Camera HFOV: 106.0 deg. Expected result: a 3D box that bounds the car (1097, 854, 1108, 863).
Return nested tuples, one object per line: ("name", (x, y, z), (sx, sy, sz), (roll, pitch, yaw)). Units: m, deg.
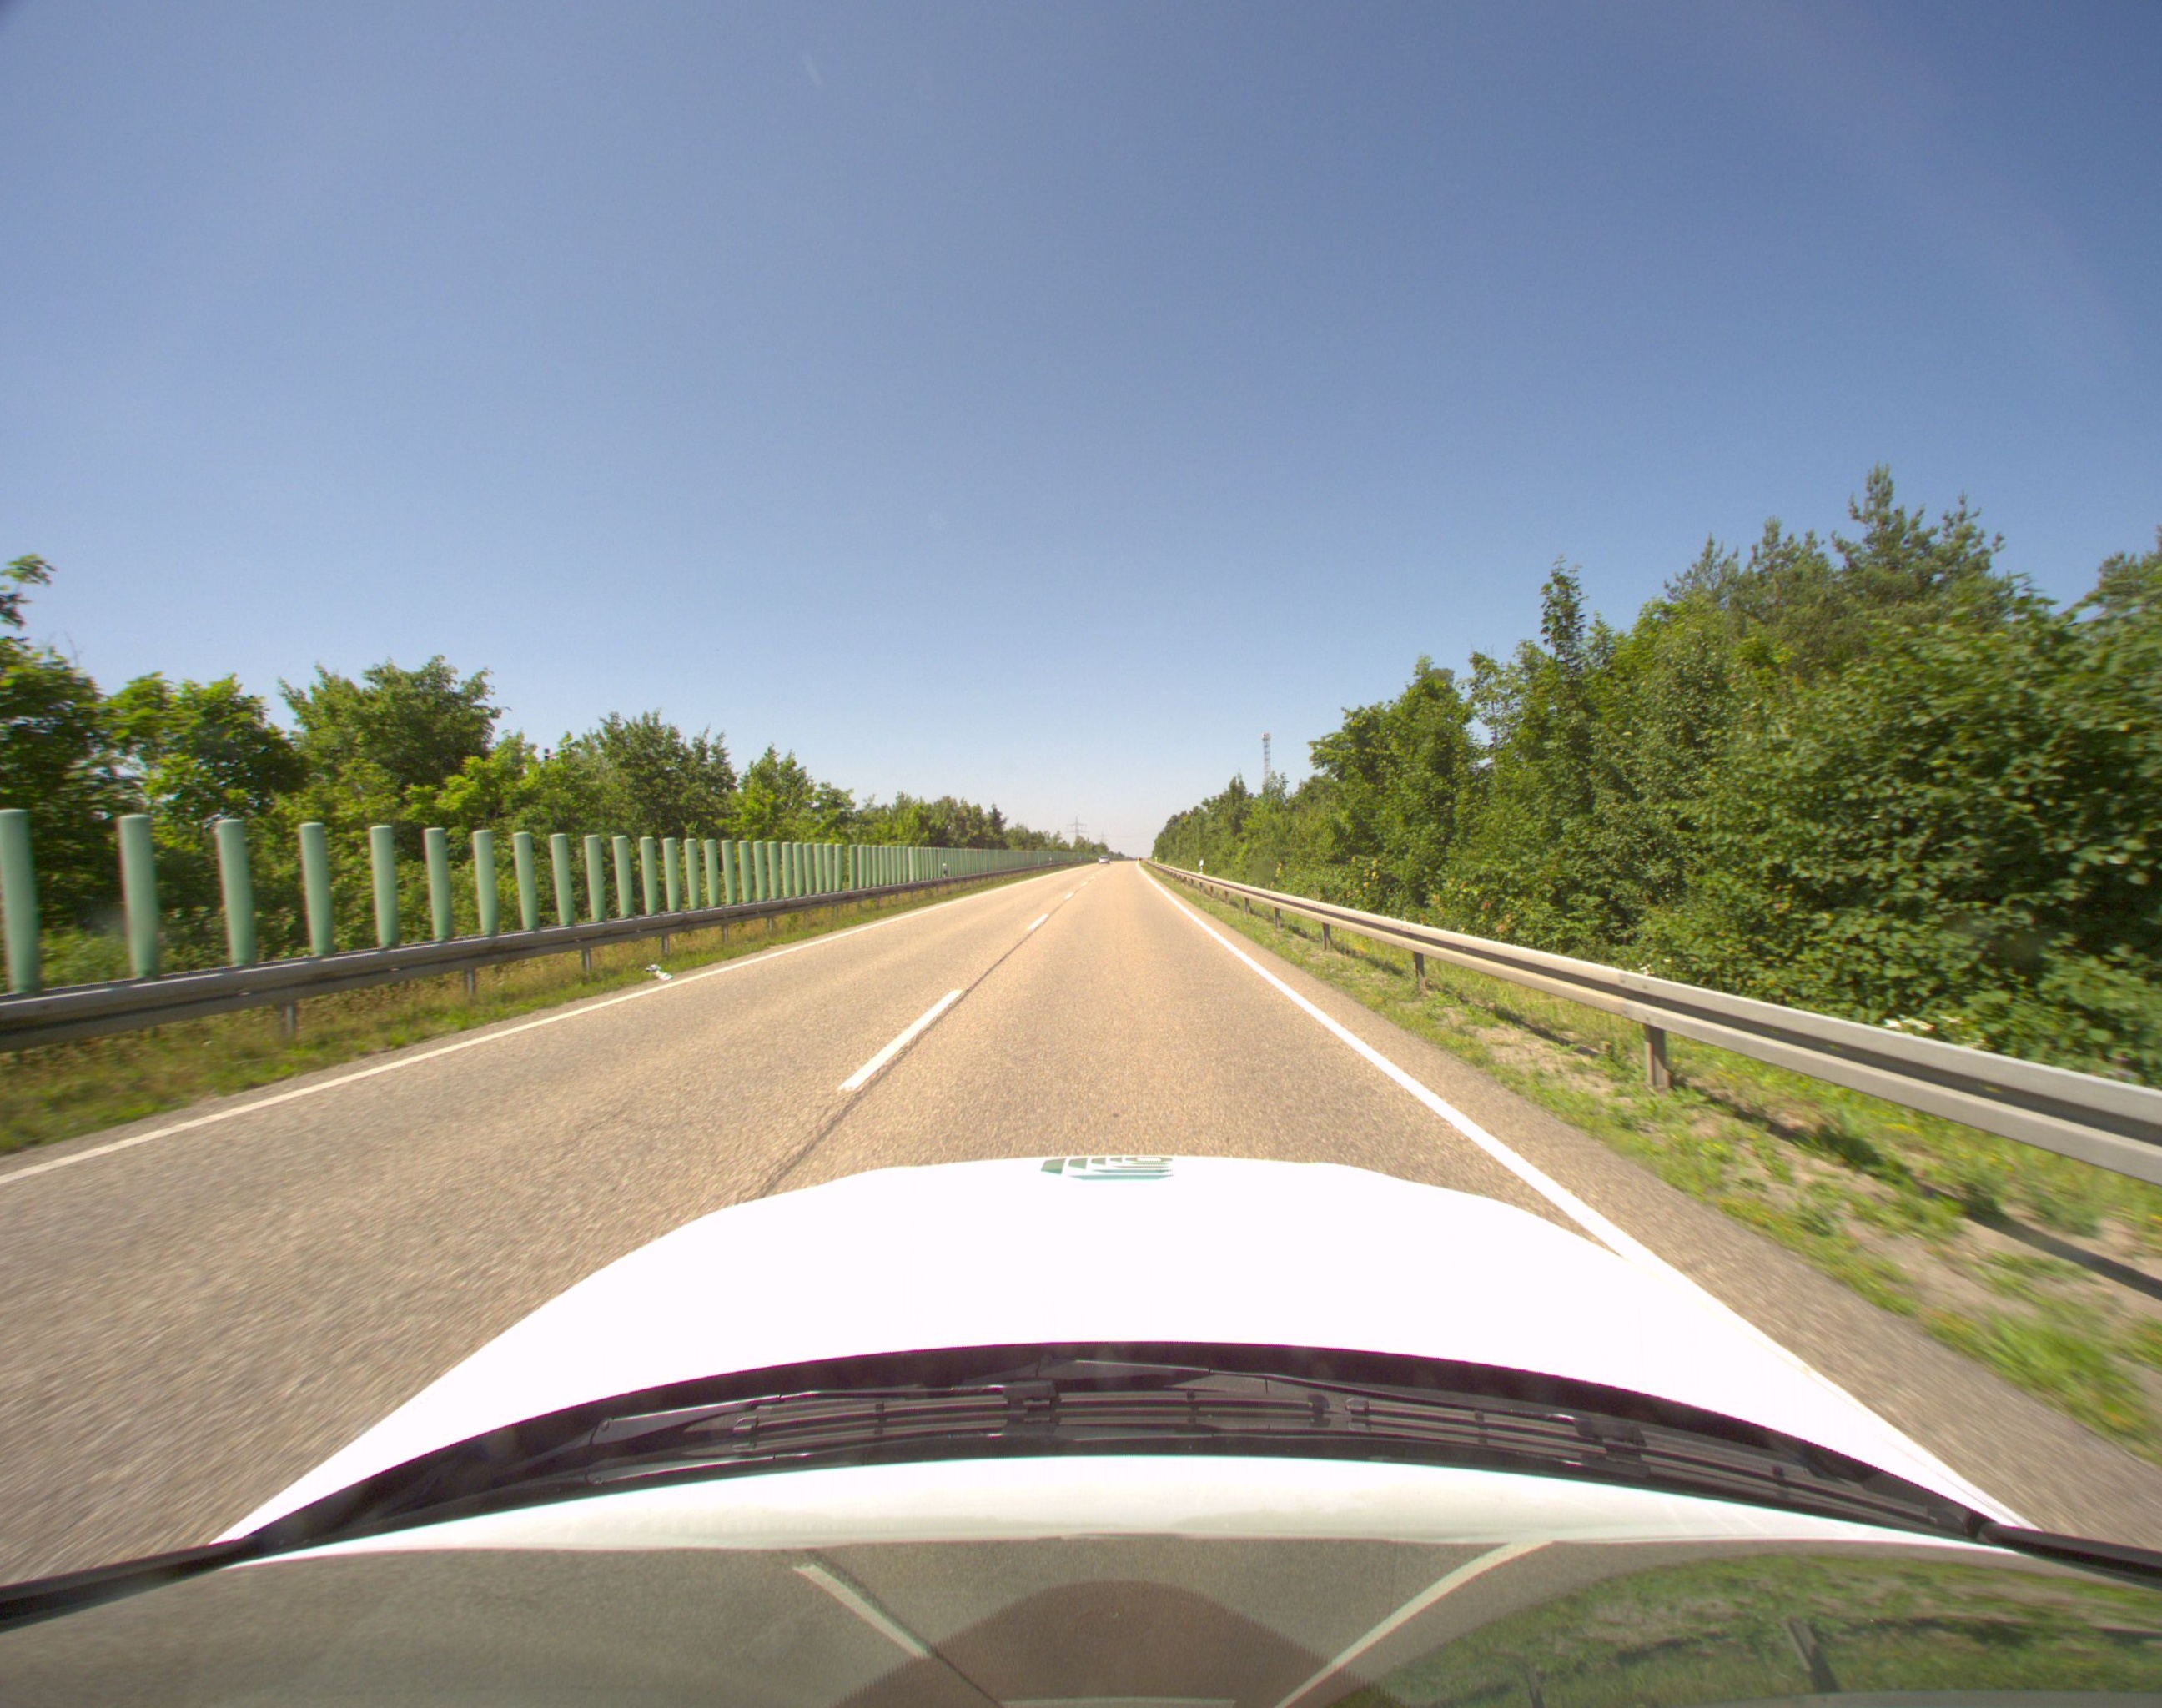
("car", (3.765, 0.734, 141.451), (1.713, 1.501, 4.251), (-1, 0, 3))
